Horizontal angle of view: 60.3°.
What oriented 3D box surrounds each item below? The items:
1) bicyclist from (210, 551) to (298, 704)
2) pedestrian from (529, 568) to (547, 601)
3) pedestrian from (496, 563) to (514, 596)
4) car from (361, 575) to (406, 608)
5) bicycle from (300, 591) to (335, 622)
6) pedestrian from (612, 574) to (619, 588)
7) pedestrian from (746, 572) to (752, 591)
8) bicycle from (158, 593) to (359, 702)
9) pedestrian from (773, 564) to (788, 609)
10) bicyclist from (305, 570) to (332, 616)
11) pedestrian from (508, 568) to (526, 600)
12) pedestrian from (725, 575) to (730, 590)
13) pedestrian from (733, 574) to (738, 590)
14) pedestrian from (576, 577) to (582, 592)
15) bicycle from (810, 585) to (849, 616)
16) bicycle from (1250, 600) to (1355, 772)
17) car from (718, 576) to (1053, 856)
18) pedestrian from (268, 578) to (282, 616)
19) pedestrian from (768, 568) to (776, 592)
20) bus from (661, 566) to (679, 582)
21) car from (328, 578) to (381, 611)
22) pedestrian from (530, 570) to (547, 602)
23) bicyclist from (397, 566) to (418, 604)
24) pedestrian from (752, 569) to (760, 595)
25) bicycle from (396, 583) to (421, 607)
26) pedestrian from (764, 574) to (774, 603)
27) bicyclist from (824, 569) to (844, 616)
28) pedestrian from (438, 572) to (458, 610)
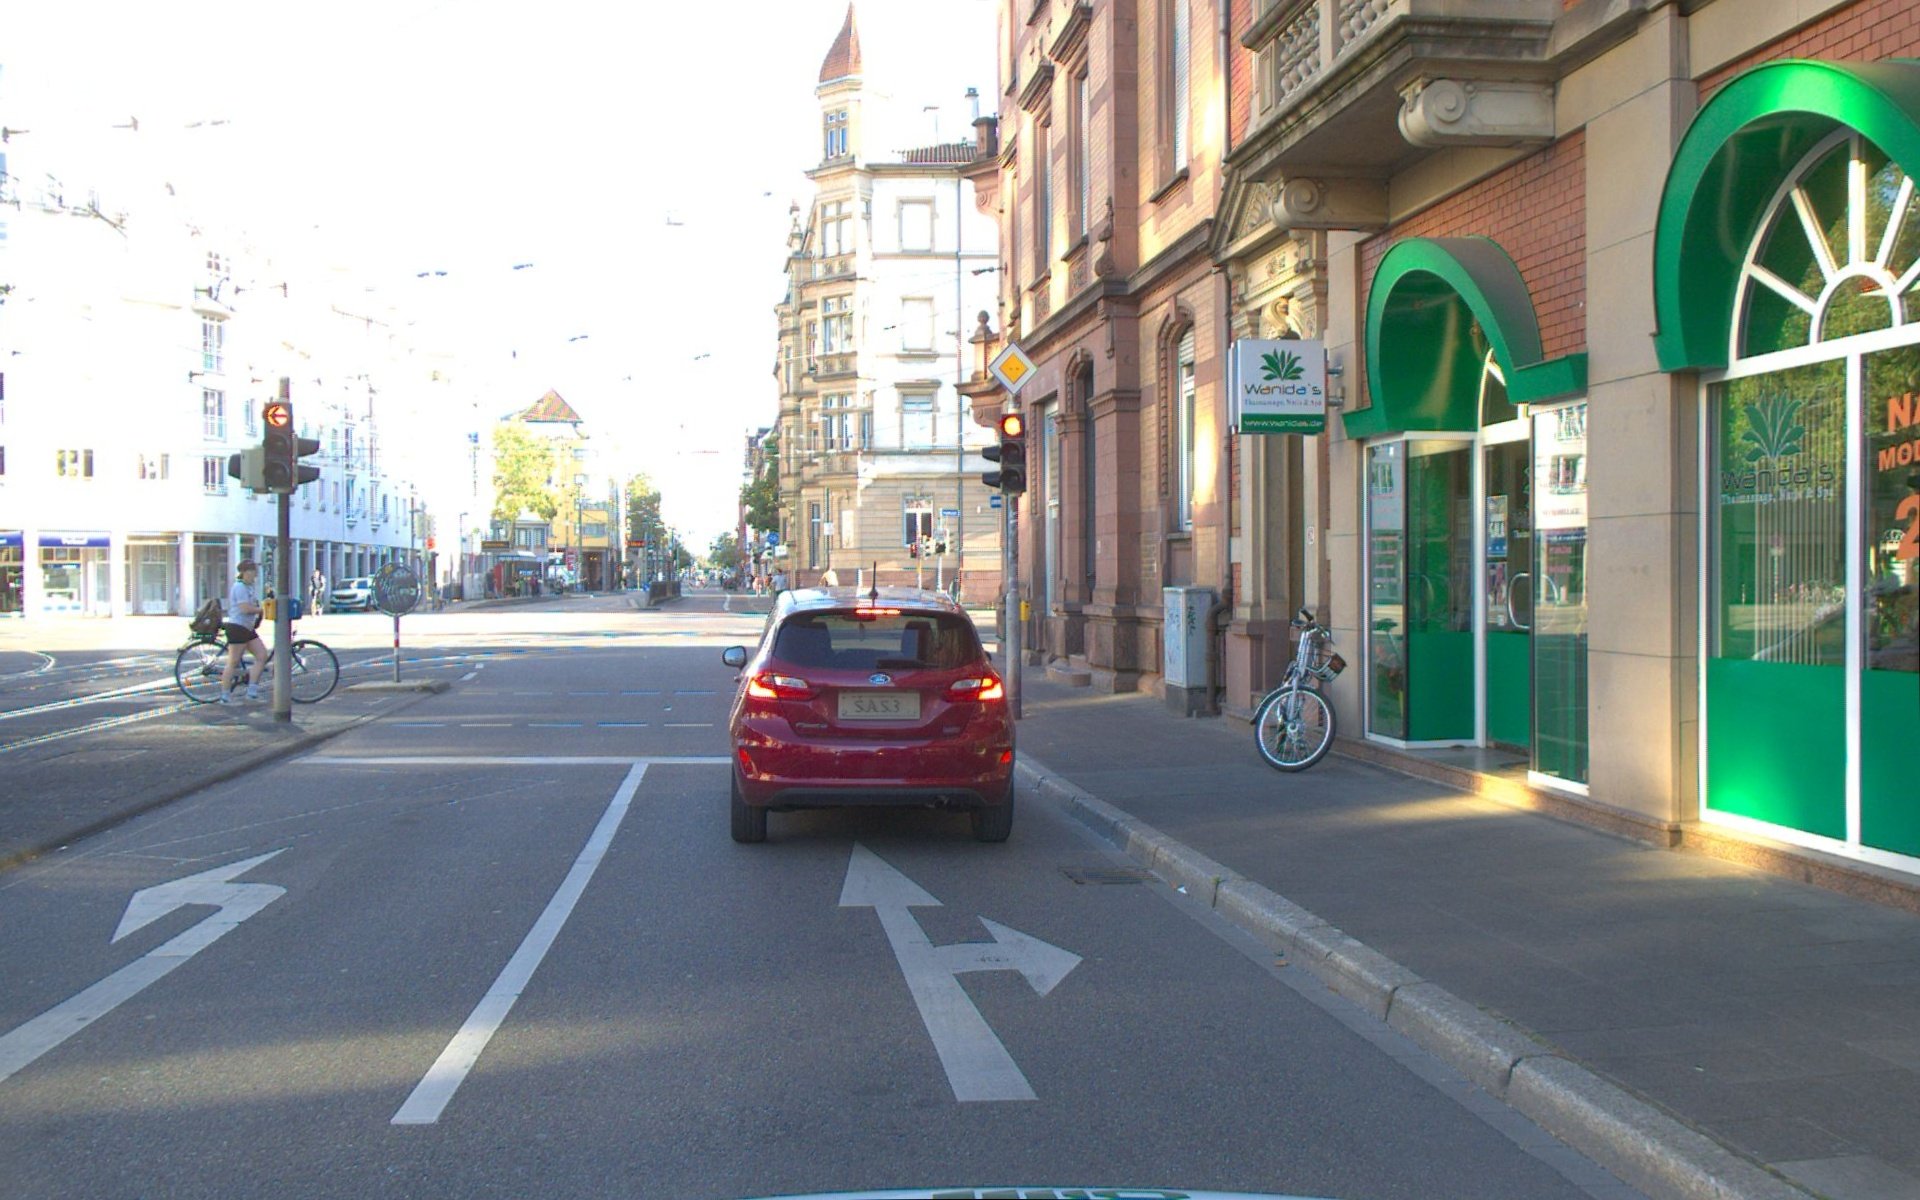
[{"bbox_3d":[-7.826,0.301,18.364,0.716,1.655,0.764,1,0,-10],"label":"bicyclist"},{"bbox_3d":[-27.034,-0.995,105.925,1.026,2.049,0.957,-1,1,-10],"label":"pedestrian"},{"bbox_3d":[-28.411,-1.304,103.211,0.938,2.049,1.047,-1,1,-8],"label":"pedestrian"},{"bbox_3d":[-31.152,-0.484,89.462,1.669,1.748,3.557,-1,1,-9],"label":"car"},{"bbox_3d":[-24.534,0.241,63.165,0.792,1.167,2.046,-1,1,-8],"label":"bicycle"},{"bbox_3d":[-41.360,-2.244,198.504,0.621,1.632,0.574,-1,1,-25],"label":"pedestrian"},{"bbox_3d":[-22.101,-1.931,173.072,0.566,2.049,0.630,0,1,-8],"label":"pedestrian"},{"bbox_3d":[-7.907,0.535,18.712,1.982,1.198,0.627,1,0,-11],"label":"bicycle"},{"bbox_3d":[-8.306,-0.639,76.473,0.639,2.049,0.758,0,0,-9],"label":"pedestrian"},{"bbox_3d":[-24.558,-0.275,63.307,0.792,1.756,0.793,-1,1,-9],"label":"bicyclist"},{"bbox_3d":[-28.745,-1.013,107.228,1.026,2.049,0.957,-1,1,-10],"label":"pedestrian"},{"bbox_3d":[-29.165,-2.213,207.646,0.566,1.920,0.668,0,1,-8],"label":"pedestrian"},{"bbox_3d":[-27.603,-2.227,203.554,0.566,1.920,0.630,0,1,-8],"label":"pedestrian"},{"bbox_3d":[-39.117,-1.584,169.753,0.514,1.514,0.582,-1,1,-6],"label":"pedestrian"},{"bbox_3d":[-4.772,0.010,60.482,1.459,1.108,0.525,0,1,41],"label":"bicycle"},{"bbox_3d":[2.605,0.622,12.698,0.700,1.172,1.656,-2,1,10],"label":"bicycle"},{"bbox_3d":[-0.674,0.609,10.937,1.722,1.492,3.936,1,1,-10],"label":"car"},{"bbox_3d":[-31.037,-0.149,74.925,0.515,1.711,0.484,-1,1,-15],"label":"pedestrian"},{"bbox_3d":[-15.749,-1.664,138.437,0.565,2.049,0.630,0,1,-2],"label":"pedestrian"},{"bbox_3d":[-38.388,-3.410,219.001,1.889,2.049,7.127,-1,1,-7],"label":"bus"},{"bbox_3d":[-30.054,-0.309,82.167,1.732,1.573,3.455,-1,1,-7],"label":"car"},{"bbox_3d":[-27.623,-0.909,108.351,1.026,2.049,0.957,-1,1,-10],"label":"pedestrian"},{"bbox_3d":[-27.330,-0.738,81.785,0.792,1.853,0.992,-1,1,-8],"label":"bicyclist"},{"bbox_3d":[-16.093,-1.386,130.238,0.565,2.049,0.630,0,1,-2],"label":"pedestrian"},{"bbox_3d":[-27.348,-0.237,82.010,0.792,1.167,2.007,-1,1,-8],"label":"bicycle"},{"bbox_3d":[-13.498,-0.821,116.884,0.634,2.049,0.682,0,0,-8],"label":"pedestrian"},{"bbox_3d":[-4.594,-0.293,60.327,0.535,1.705,0.498,0,1,40],"label":"bicyclist"},{"bbox_3d":[-23.432,-0.408,75.722,0.753,1.761,0.572,0,0,-6],"label":"pedestrian"}]
